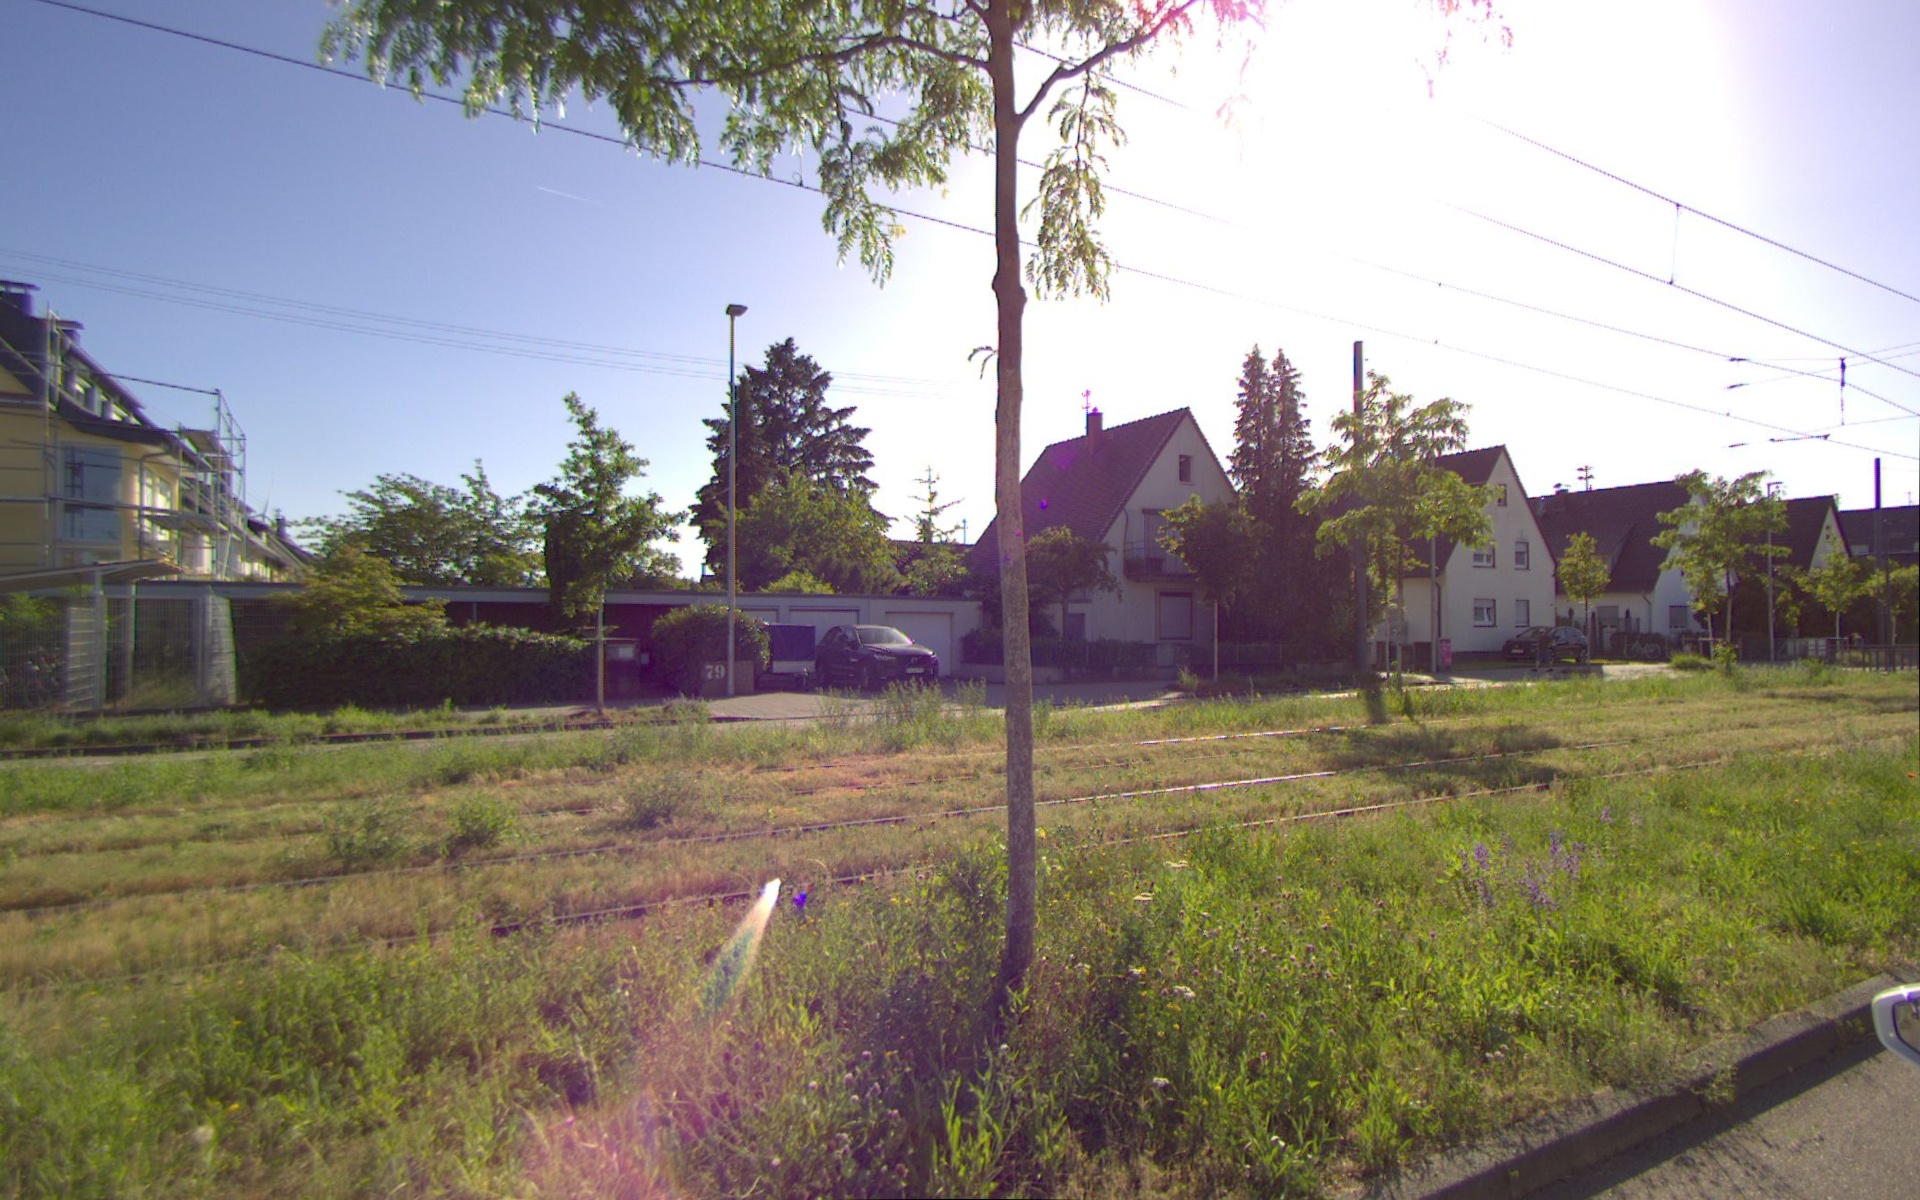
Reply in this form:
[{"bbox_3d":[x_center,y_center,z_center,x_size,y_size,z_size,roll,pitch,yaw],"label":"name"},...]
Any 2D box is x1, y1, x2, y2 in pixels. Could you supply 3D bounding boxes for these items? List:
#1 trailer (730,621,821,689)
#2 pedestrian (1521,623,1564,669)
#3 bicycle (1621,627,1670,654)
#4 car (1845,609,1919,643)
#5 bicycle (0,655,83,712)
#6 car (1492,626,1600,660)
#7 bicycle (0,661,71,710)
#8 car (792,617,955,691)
[{"bbox_3d":[-4.903,1.398,26.453,1.383,1.669,2.898,1,-2,-32],"label":"trailer"},{"bbox_3d":[21.361,1.669,36.836,1.073,1.662,0.960,1,-2,-30],"label":"pedestrian"},{"bbox_3d":[35.307,2.065,51.772,0.698,1.383,1.975,1,-2,-36],"label":"bicycle"},{"bbox_3d":[57.360,1.593,61.896,1.915,1.996,3.958,2,-1,-37],"label":"car"},{"bbox_3d":[-16.229,1.423,17.218,1.728,0.954,0.421,2,0,-30],"label":"bicycle"},{"bbox_3d":[26.058,1.894,44.629,5.102,1.469,1.925,1,-2,-30],"label":"car"},{"bbox_3d":[-16.724,1.501,17.734,1.491,0.832,0.309,2,0,-30],"label":"bicycle"},{"bbox_3d":[-2.337,1.361,26.275,2.037,1.757,4.501,1,-2,-41],"label":"car"}]
